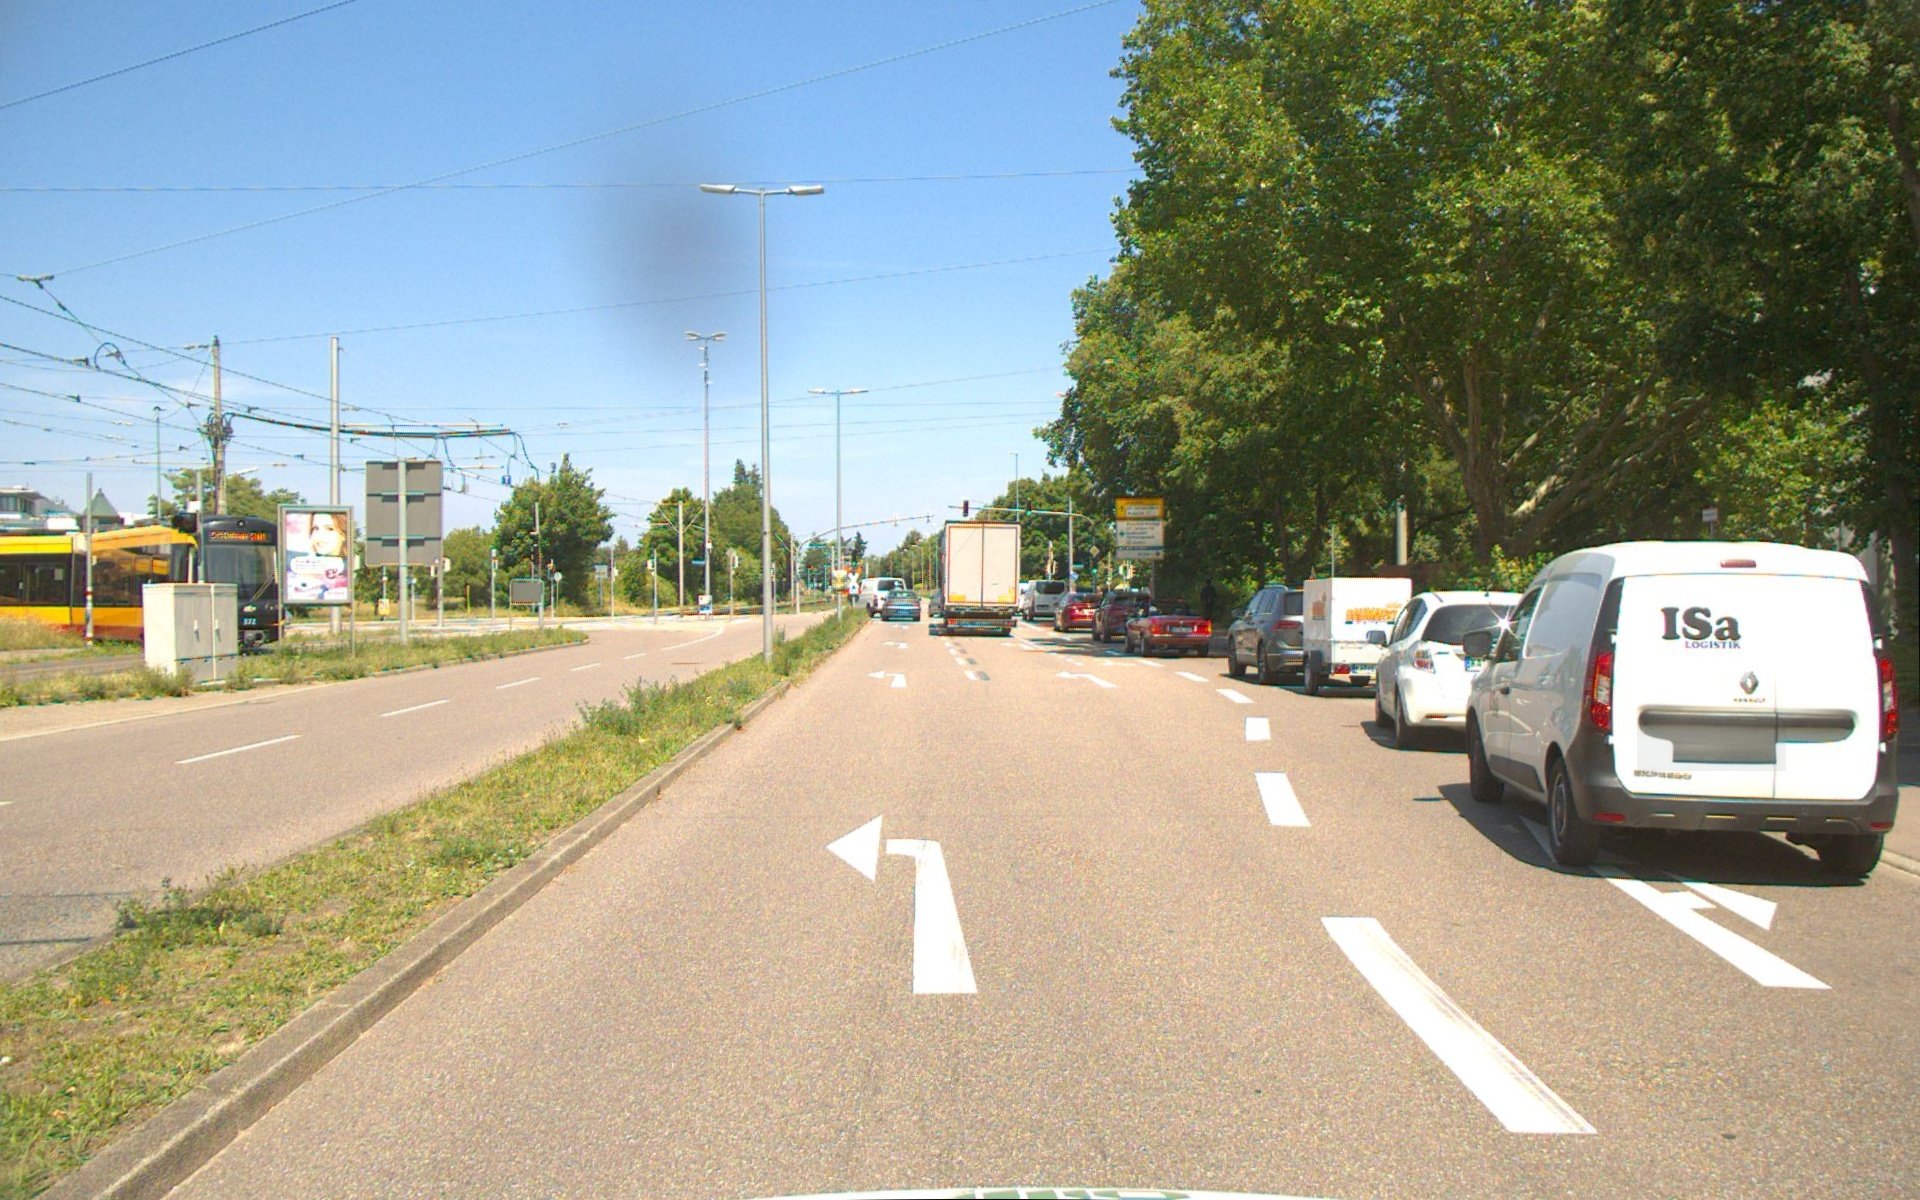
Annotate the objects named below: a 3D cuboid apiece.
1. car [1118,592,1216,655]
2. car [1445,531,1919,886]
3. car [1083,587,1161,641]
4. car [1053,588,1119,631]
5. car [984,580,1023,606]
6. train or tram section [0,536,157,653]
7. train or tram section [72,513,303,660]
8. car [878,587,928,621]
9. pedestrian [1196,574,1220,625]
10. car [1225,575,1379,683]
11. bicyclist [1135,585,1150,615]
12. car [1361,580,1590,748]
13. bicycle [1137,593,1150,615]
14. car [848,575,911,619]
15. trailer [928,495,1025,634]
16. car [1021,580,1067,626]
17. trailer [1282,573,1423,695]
[{"bbox_3d":[5.006,0.544,40.504,1.622,1.421,4.264,1,0,-3],"label":"car"},{"bbox_3d":[4.360,0.529,10.676,1.673,1.778,4.431,1,0,8],"label":"car"},{"bbox_3d":[4.993,0.396,51.488,1.821,1.576,3.885,1,0,-3],"label":"car"},{"bbox_3d":[4.761,0.336,63.028,1.953,1.529,4.500,0,1,-3],"label":"car"},{"bbox_3d":[2.532,-0.421,96.838,1.954,1.462,4.248,0,1,-4],"label":"car"},{"bbox_3d":[-30.844,-0.269,53.417,9.984,3.526,3.045,1,0,23],"label":"train or tram section"},{"bbox_3d":[-21.778,-0.430,45.985,3.015,3.526,13.113,1,1,-38],"label":"train or tram section"},{"bbox_3d":[-2.611,0.202,76.646,1.853,1.396,4.431,3,-1,3],"label":"car"},{"bbox_3d":[9.163,-0.011,61.122,0.738,1.847,0.693,-1,0,-3],"label":"pedestrian"},{"bbox_3d":[5.771,0.446,28.404,1.665,1.683,4.398,1,0,-1],"label":"car"},{"bbox_3d":[10.946,0.018,99.426,0.785,1.757,0.679,-3,0,9],"label":"bicyclist"},{"bbox_3d":[5.223,0.573,17.207,1.684,1.514,3.881,1,0,9],"label":"car"},{"bbox_3d":[11.056,0.239,99.436,0.631,1.327,1.627,-3,0,9],"label":"bicycle"},{"bbox_3d":[-4.107,-0.176,83.783,1.964,2.148,4.721,0,1,-19],"label":"car"},{"bbox_3d":[0.457,-1.202,58.695,2.771,4.498,8.744,1,0,-3],"label":"trailer"},{"bbox_3d":[4.099,0.114,81.339,1.853,2.158,3.885,1,0,-3],"label":"car"},{"bbox_3d":[5.823,0.474,24.773,1.438,1.698,2.856,1,0,1],"label":"trailer"}]
